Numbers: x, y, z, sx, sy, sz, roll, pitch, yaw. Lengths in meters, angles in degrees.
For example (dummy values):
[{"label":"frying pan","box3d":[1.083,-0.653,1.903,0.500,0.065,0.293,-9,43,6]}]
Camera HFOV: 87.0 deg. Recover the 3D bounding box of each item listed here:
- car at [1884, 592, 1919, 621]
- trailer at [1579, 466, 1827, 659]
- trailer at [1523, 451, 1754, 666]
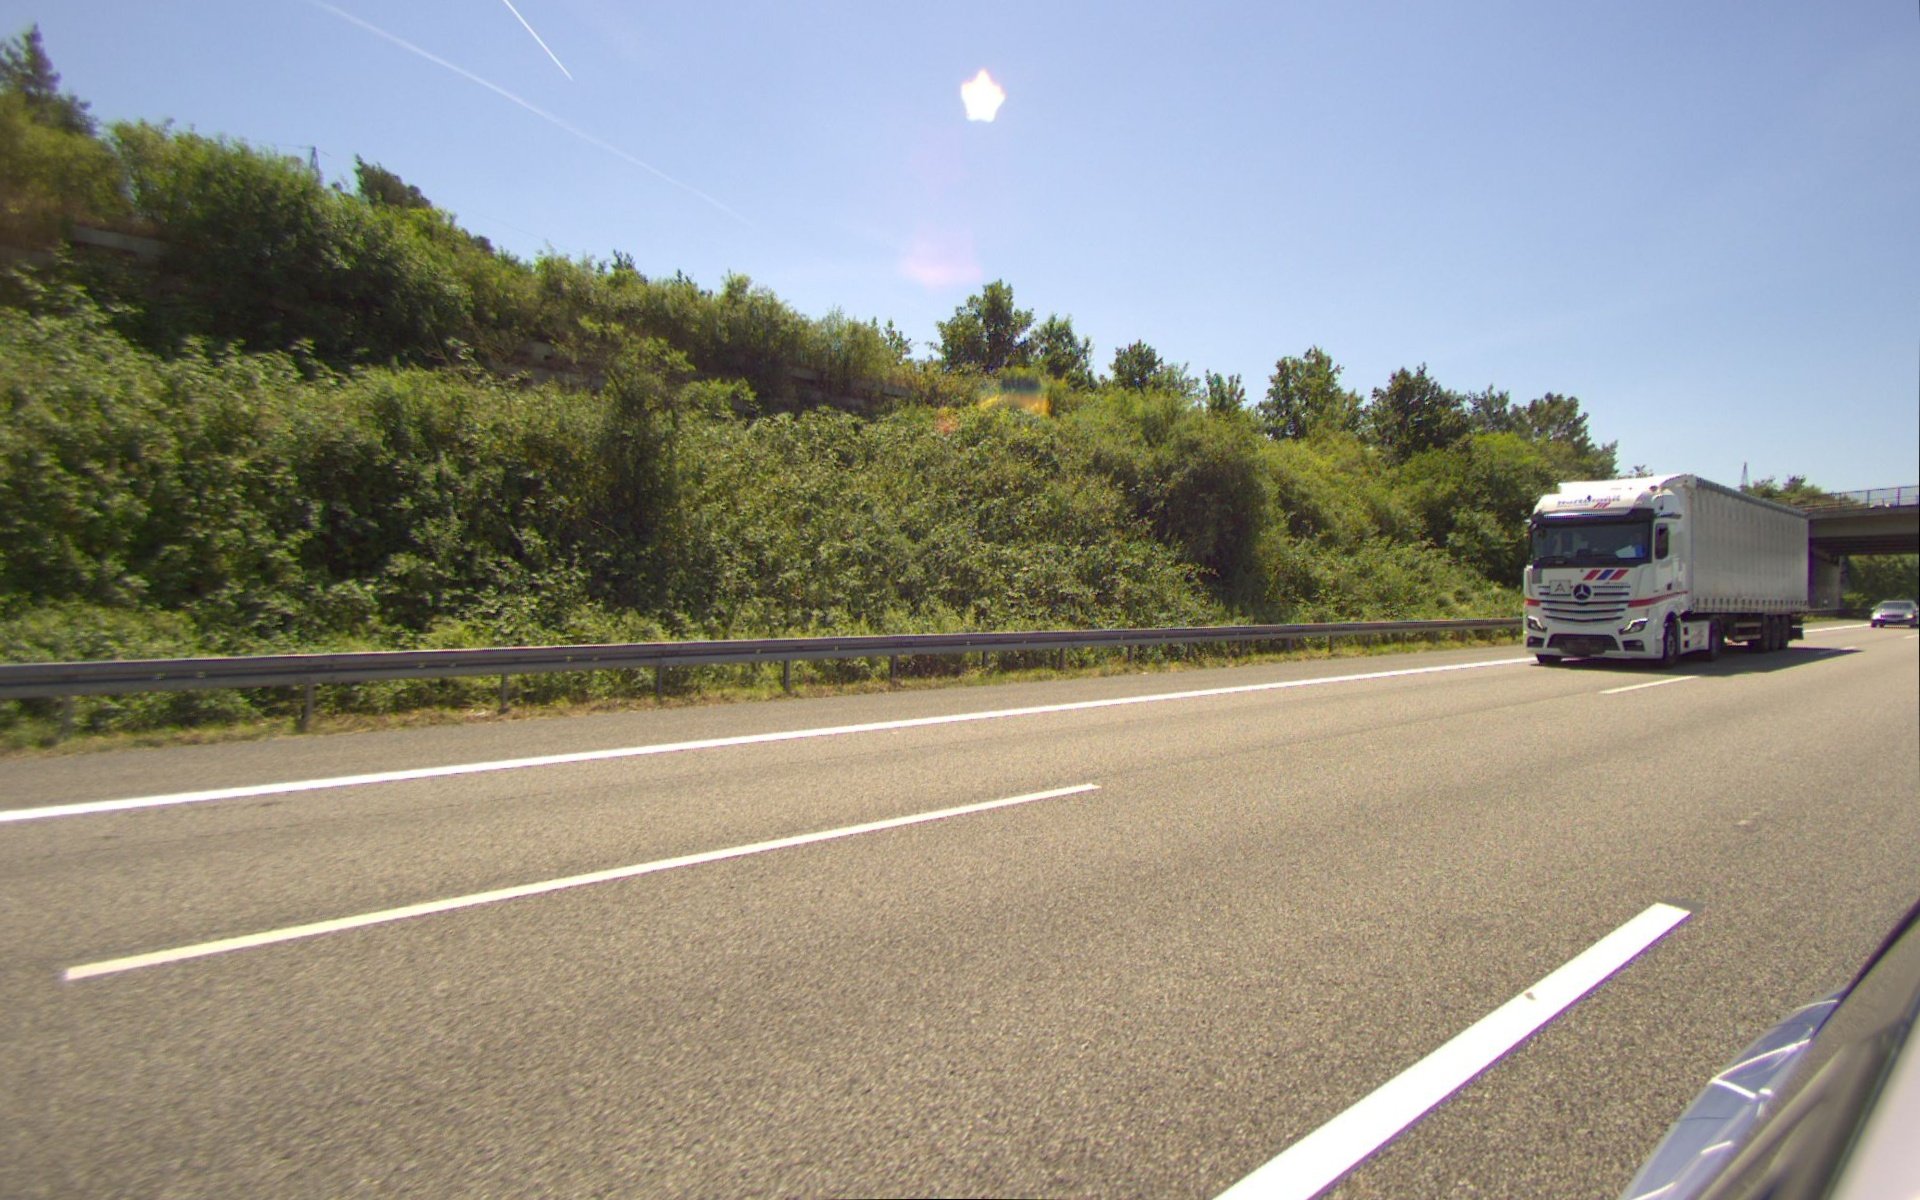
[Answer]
[{"label":"car","box3d":[49.147,0.323,52.133,4.480,1.430,1.838,0,0,-42]},{"label":"trailer","box3d":[20.393,-0.873,27.222,12.961,4.154,2.733,0,1,-42]},{"label":"trailer","box3d":[15.444,-0.851,22.828,6.671,4.154,2.717,0,1,-42]}]
